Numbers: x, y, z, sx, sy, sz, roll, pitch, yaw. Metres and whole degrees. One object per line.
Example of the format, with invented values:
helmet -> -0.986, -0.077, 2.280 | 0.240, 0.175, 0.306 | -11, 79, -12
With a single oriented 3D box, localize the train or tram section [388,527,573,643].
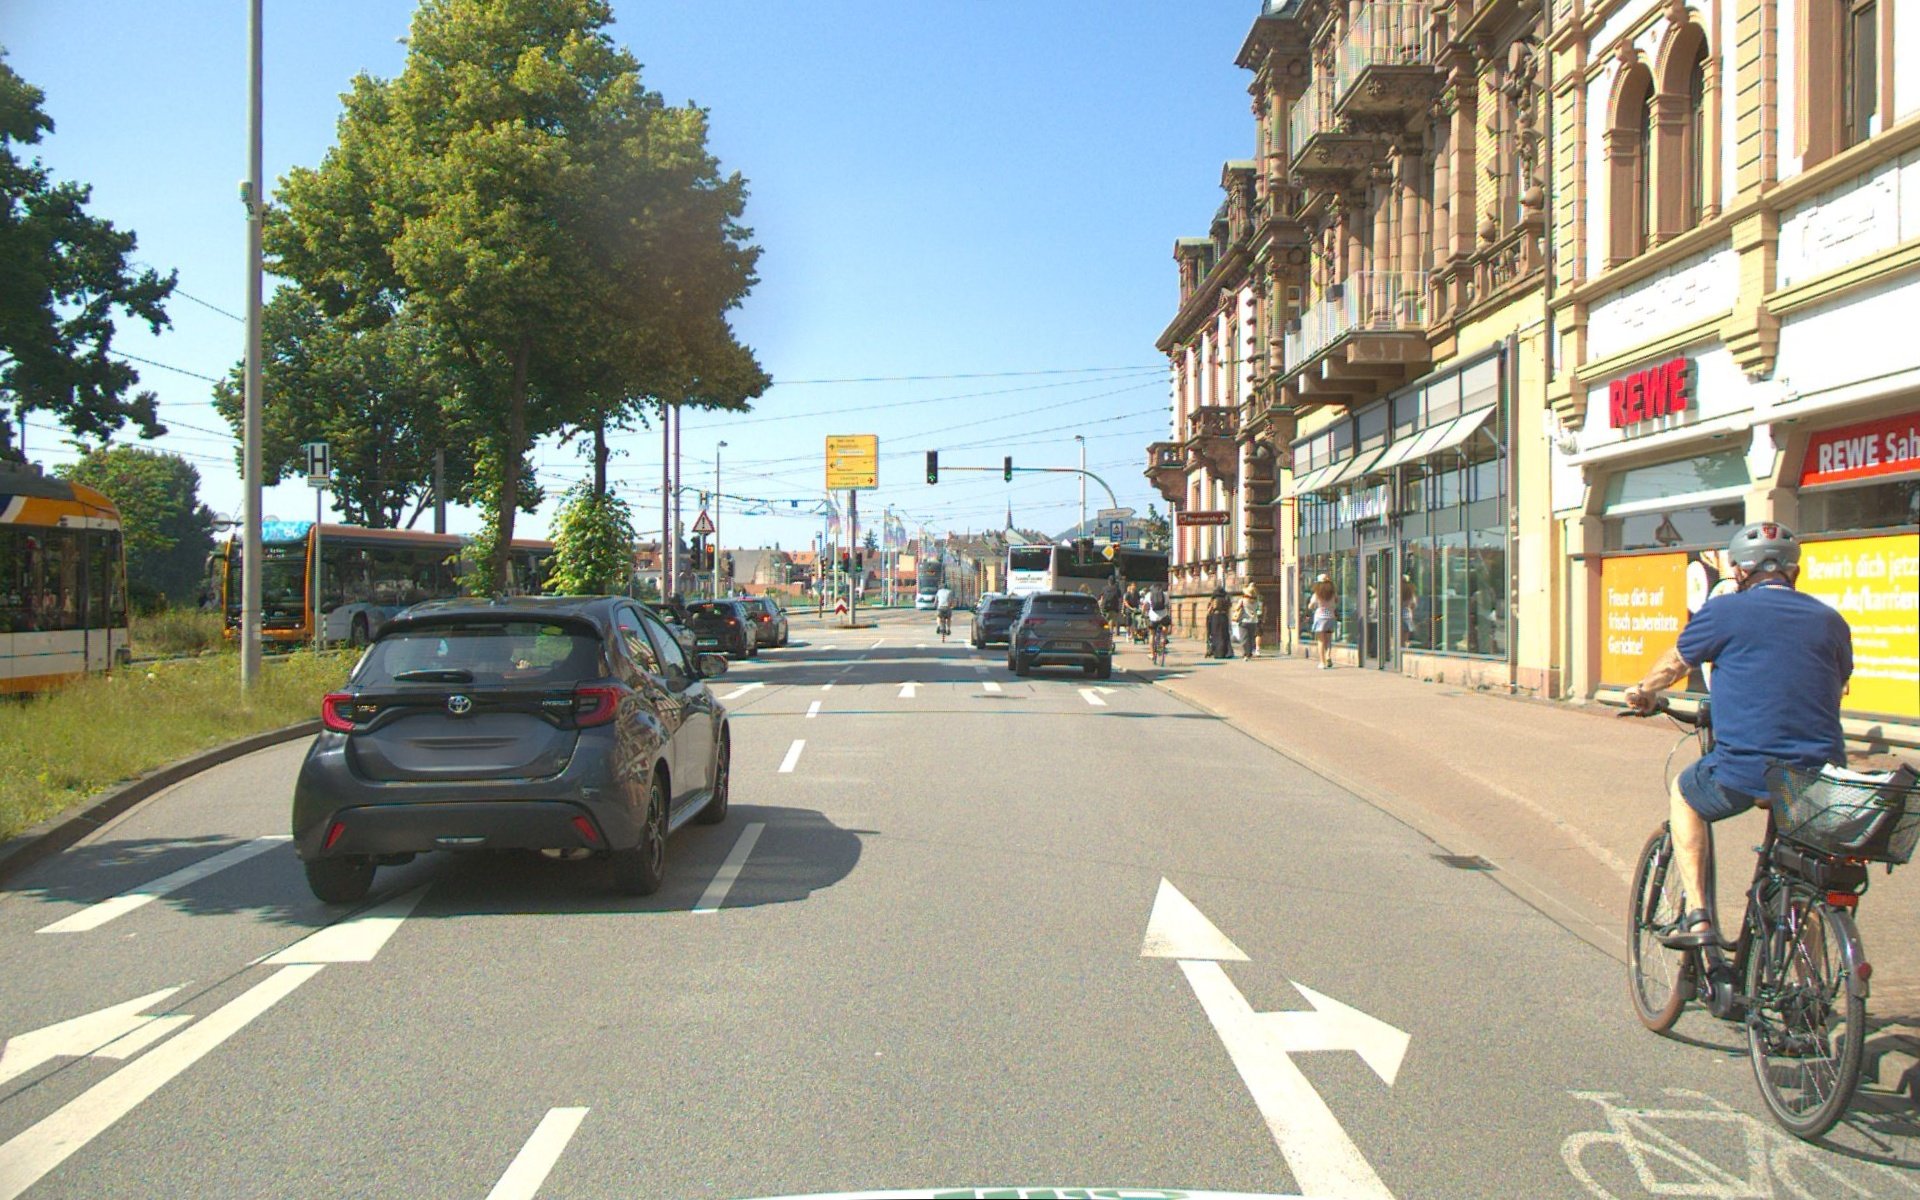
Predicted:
train or tram section -> -16.280, -0.450, 56.853 | 2.762, 3.644, 8.232 | 1, 0, 9

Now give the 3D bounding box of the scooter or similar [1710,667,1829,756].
scooter or similar -> 6.776, 0.928, 13.870 | 0.677, 0.661, 0.565 | -4, -1, -2

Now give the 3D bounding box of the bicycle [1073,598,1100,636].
bicycle -> 3.823, 0.525, 50.124 | 0.719, 1.112, 1.898 | 2, 0, 2

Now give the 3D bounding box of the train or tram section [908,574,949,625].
train or tram section -> -2.401, -0.041, 129.990 | 2.764, 3.843, 8.228 | 2, 0, 1

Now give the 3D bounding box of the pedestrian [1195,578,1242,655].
pedestrian -> 5.767, 0.362, 36.959 | 0.845, 1.669, 0.875 | 2, -1, -2

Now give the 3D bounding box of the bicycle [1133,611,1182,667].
bicycle -> 4.070, 0.785, 34.172 | 0.719, 1.112, 1.897 | 2, 0, -1

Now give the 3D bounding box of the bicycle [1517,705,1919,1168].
bicycle -> 2.523, 0.961, 5.359 | 0.719, 1.112, 1.910 | 2, 0, -2

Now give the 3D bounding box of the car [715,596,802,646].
car -> -5.867, 0.605, 48.631 | 1.995, 1.355, 4.000 | 2, 0, 0

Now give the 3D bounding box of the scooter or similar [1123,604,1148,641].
scooter or similar -> 5.131, 0.656, 48.372 | 0.588, 1.066, 0.799 | 2, -1, -2

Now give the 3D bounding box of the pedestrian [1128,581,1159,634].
pedestrian -> 5.935, 0.231, 53.421 | 0.845, 1.669, 0.875 | 2, -1, -2

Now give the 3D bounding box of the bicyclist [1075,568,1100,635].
bicyclist -> 3.849, 0.047, 50.062 | 0.674, 1.996, 0.778 | 1, -1, 2

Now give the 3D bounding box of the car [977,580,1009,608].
car -> 1.915, -0.350, 97.337 | 1.820, 1.533, 4.000 | 2, 0, 0

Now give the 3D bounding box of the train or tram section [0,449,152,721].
train or tram section -> -14.154, -0.221, 23.279 | 2.560, 3.644, 6.016 | 2, 0, -1

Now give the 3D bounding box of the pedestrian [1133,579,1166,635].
pedestrian -> 5.754, 0.208, 50.286 | 0.845, 1.669, 0.875 | -1, 0, -2

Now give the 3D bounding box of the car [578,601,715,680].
car -> -5.871, 0.735, 31.453 | 1.778, 1.355, 4.000 | 2, 0, 0

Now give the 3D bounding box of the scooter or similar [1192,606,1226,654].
scooter or similar -> 5.647, 0.672, 37.547 | 0.588, 1.066, 0.799 | 2, -1, -2

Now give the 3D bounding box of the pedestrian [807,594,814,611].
pedestrian -> -13.304, 0.213, 146.762 | 0.546, 1.440, 0.636 | 2, -1, -2

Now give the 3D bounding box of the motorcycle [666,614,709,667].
motorcycle -> -5.943, 0.875, 36.160 | 0.684, 1.082, 1.908 | -2, 0, -3

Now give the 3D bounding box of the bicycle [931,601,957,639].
bicycle -> -0.502, 0.614, 50.888 | 0.719, 1.112, 1.897 | 2, 0, -2

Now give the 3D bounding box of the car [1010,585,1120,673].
car -> 1.938, 0.526, 31.489 | 1.835, 1.519, 4.000 | 2, 0, 0

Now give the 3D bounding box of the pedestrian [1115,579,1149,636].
pedestrian -> 5.098, 0.228, 49.113 | 0.845, 1.669, 0.875 | 2, -1, -2

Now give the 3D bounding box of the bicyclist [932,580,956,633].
bicyclist -> -0.485, 0.197, 50.836 | 0.674, 1.604, 1.049 | 2, -1, -2

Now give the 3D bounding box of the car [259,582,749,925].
car -> -2.315, 0.705, 9.477 | 1.741, 1.501, 3.999 | -1, 0, -1

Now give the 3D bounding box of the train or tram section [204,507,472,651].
train or tram section -> -17.562, -0.502, 47.769 | 2.762, 3.644, 10.039 | 1, 0, 7

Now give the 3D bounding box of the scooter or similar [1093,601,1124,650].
scooter or similar -> 3.698, 0.639, 41.302 | 0.674, 1.188, 1.464 | 2, -1, 2

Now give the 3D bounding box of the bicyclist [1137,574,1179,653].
bicyclist -> 4.082, 0.279, 34.129 | 0.674, 1.604, 1.049 | 2, -1, -1

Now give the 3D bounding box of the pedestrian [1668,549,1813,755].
pedestrian -> 6.744, 0.443, 14.332 | 0.740, 1.684, 0.837 | -4, -1, -1

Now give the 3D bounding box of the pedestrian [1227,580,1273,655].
pedestrian -> 6.649, 0.394, 37.927 | 0.845, 1.669, 0.875 | 2, -1, -2

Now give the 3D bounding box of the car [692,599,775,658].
car -> -5.501, 0.677, 40.491 | 1.422, 1.323, 4.000 | 2, 0, 0

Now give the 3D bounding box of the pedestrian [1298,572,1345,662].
pedestrian -> 6.759, 0.313, 30.954 | 0.641, 1.649, 0.815 | -1, 0, -2

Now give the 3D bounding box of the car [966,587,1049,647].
car -> 1.272, 0.464, 45.924 | 1.954, 1.519, 3.997 | 2, 0, -3

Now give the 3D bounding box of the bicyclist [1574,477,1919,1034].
bicyclist -> 2.536, 0.467, 5.400 | 0.674, 1.644, 0.918 | 2, -1, -2

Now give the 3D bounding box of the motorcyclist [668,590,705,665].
motorcyclist -> -5.948, 0.597, 36.045 | 0.675, 1.583, 0.717 | -2, -1, -3

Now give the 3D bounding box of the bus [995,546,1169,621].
bus -> 5.225, -0.643, 69.041 | 2.921, 2.825, 8.601 | 1, -1, 38

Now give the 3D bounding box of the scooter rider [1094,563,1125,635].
scooter rider -> 3.731, -0.017, 41.347 | 0.674, 1.759, 0.778 | 1, -1, 2

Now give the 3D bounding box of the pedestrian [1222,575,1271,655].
pedestrian -> 6.151, 0.313, 35.520 | 0.845, 1.669, 0.875 | -1, 0, -2

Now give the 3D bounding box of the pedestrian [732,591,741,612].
pedestrian -> -15.753, 0.098, 116.631 | 0.546, 1.440, 0.636 | 2, -1, -2
